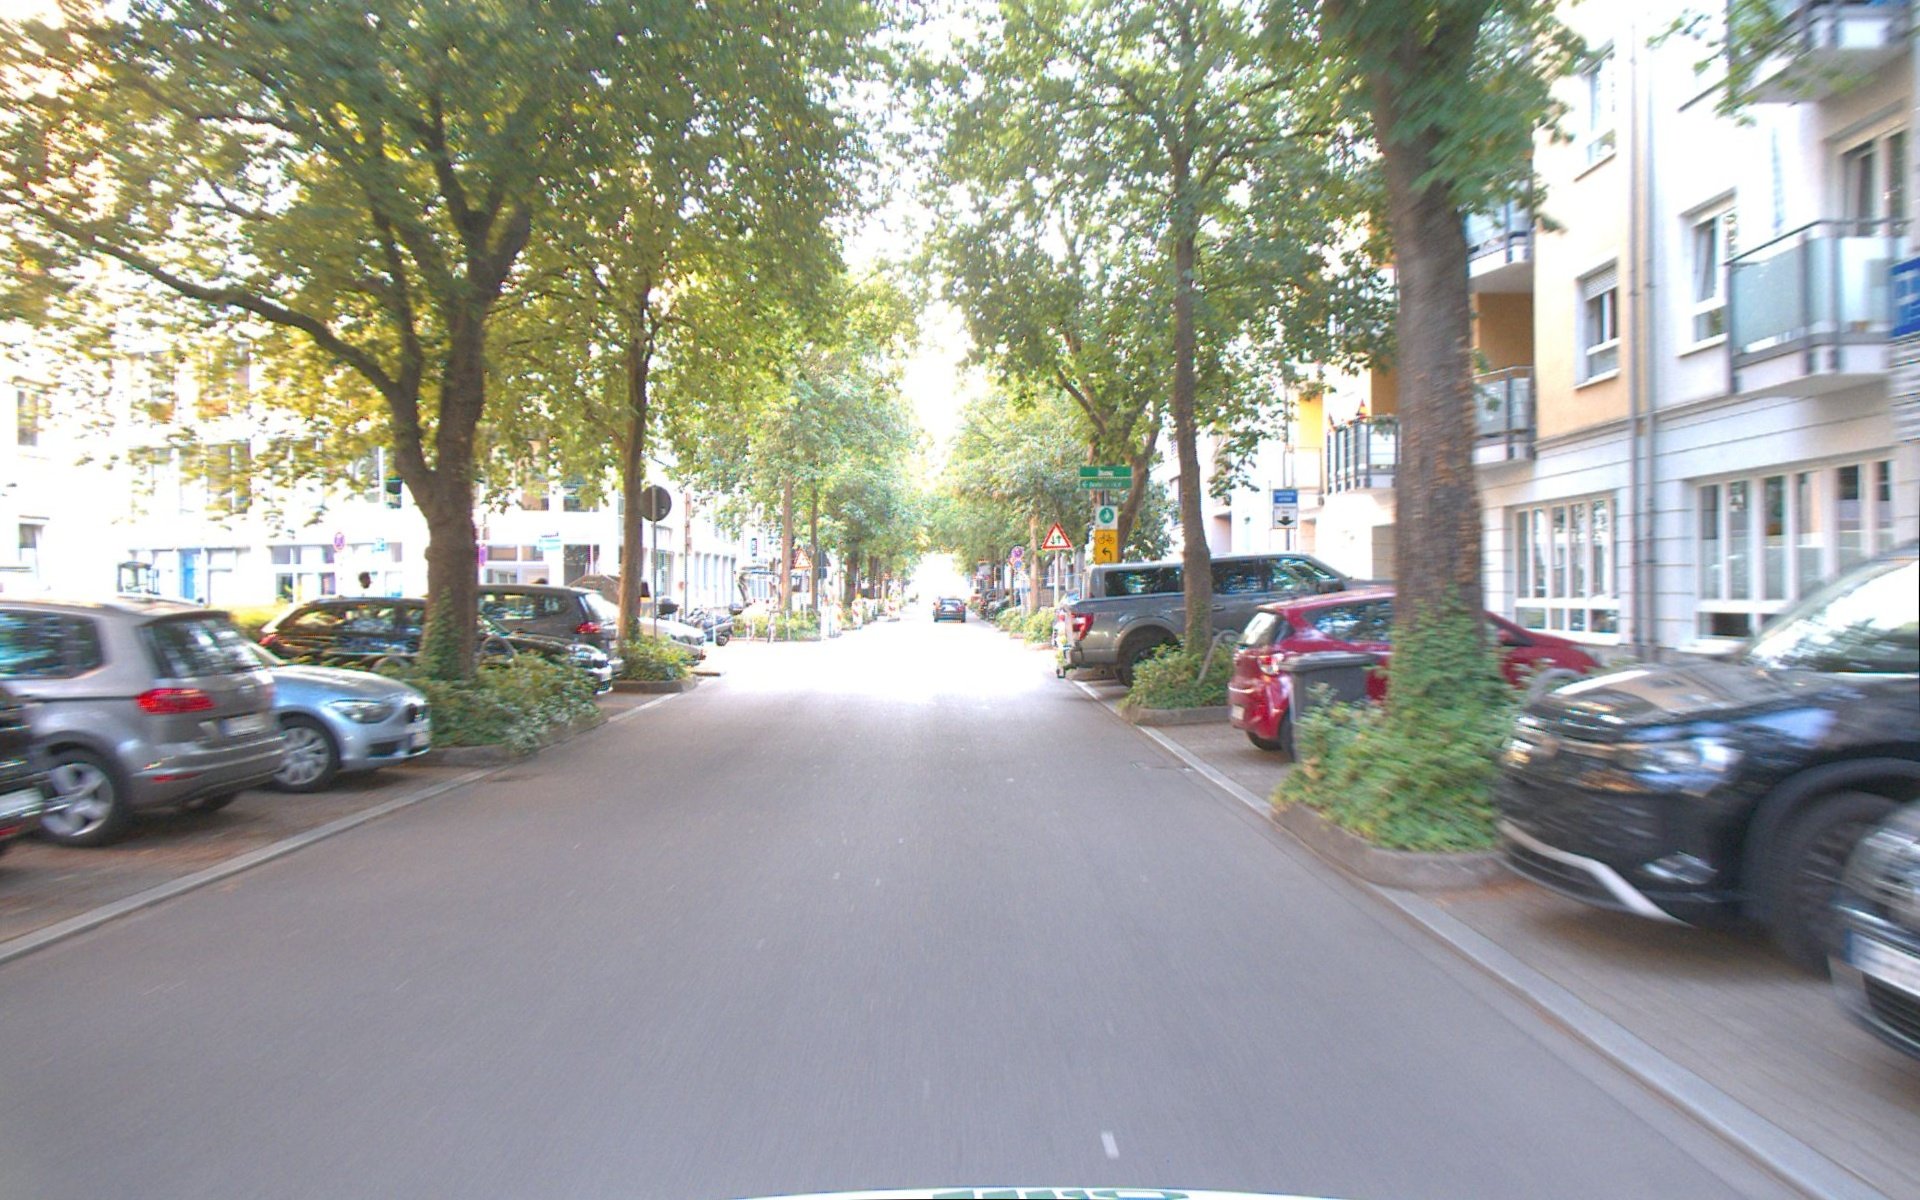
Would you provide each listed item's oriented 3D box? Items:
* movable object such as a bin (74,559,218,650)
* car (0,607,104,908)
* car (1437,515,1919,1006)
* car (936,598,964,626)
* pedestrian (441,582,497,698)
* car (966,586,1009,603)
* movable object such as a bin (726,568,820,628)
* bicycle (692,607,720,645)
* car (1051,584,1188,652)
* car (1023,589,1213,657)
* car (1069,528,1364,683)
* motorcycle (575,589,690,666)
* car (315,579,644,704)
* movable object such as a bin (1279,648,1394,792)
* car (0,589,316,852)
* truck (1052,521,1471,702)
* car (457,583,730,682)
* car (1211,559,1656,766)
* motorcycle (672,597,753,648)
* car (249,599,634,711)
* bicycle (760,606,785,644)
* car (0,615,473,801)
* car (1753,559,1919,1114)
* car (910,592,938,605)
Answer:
[{"bbox_3d":[-24.894,0.147,50.584,4.015,2.680,1.801,0,0,24],"label":"movable object such as a bin"},{"bbox_3d":[-6.609,0.827,8.684,3.336,1.533,1.663,-1,0,-3],"label":"car"},{"bbox_3d":[4.573,0.485,7.286,4.303,1.733,1.892,-3,0,-9],"label":"car"},{"bbox_3d":[-0.563,0.640,89.688,1.470,1.441,3.713,0,0,-1],"label":"car"},{"bbox_3d":[-7.786,0.621,26.241,0.692,1.819,0.521,0,0,-41],"label":"pedestrian"},{"bbox_3d":[2.610,-0.509,156.215,3.908,1.625,1.998,0,0,-4],"label":"car"},{"bbox_3d":[-7.607,-0.085,67.547,3.592,2.373,2.582,-1,0,-3],"label":"movable object such as a bin"},{"bbox_3d":[-8.099,0.808,52.757,0.589,1.137,1.799,-1,1,-1],"label":"bicycle"},{"bbox_3d":[4.039,0.445,42.256,3.282,1.552,1.746,-3,0,0],"label":"car"},{"bbox_3d":[3.763,0.532,39.649,4.204,1.534,1.866,-1,0,-12],"label":"car"},{"bbox_3d":[4.245,0.078,27.913,4.527,2.170,2.036,-4,0,-1],"label":"car"},{"bbox_3d":[-6.603,0.550,33.424,2.171,1.520,0.691,-1,0,1],"label":"motorcycle"},{"bbox_3d":[-7.069,0.589,24.721,4.308,1.714,2.063,1,0,-3],"label":"car"},{"bbox_3d":[2.956,0.931,13.020,0.759,1.086,0.589,0,0,-2],"label":"movable object such as a bin"},{"bbox_3d":[-6.396,0.761,11.250,3.336,1.637,1.760,-1,0,-3],"label":"car"},{"bbox_3d":[4.483,0.160,25.354,5.883,2.169,2.260,-5,0,-1],"label":"truck"},{"bbox_3d":[-6.520,0.569,29.812,4.406,1.609,2.055,1,0,0],"label":"car"},{"bbox_3d":[4.372,0.568,15.654,3.592,1.575,1.779,-4,-1,-3],"label":"car"},{"bbox_3d":[-7.409,0.648,49.550,2.358,1.466,0.790,-1,0,-41],"label":"motorcycle"},{"bbox_3d":[-6.952,0.714,22.611,4.621,1.449,2.070,0,0,-3],"label":"car"},{"bbox_3d":[-5.998,0.794,52.927,0.589,1.137,1.799,-1,1,-1],"label":"bicycle"},{"bbox_3d":[-6.357,0.860,13.884,4.018,1.403,1.746,1,0,-3],"label":"car"},{"bbox_3d":[4.617,0.554,4.621,3.905,1.552,1.727,-4,0,1],"label":"car"},{"bbox_3d":[-5.233,-0.196,241.531,3.913,1.948,1.774,-1,0,-9],"label":"car"}]
